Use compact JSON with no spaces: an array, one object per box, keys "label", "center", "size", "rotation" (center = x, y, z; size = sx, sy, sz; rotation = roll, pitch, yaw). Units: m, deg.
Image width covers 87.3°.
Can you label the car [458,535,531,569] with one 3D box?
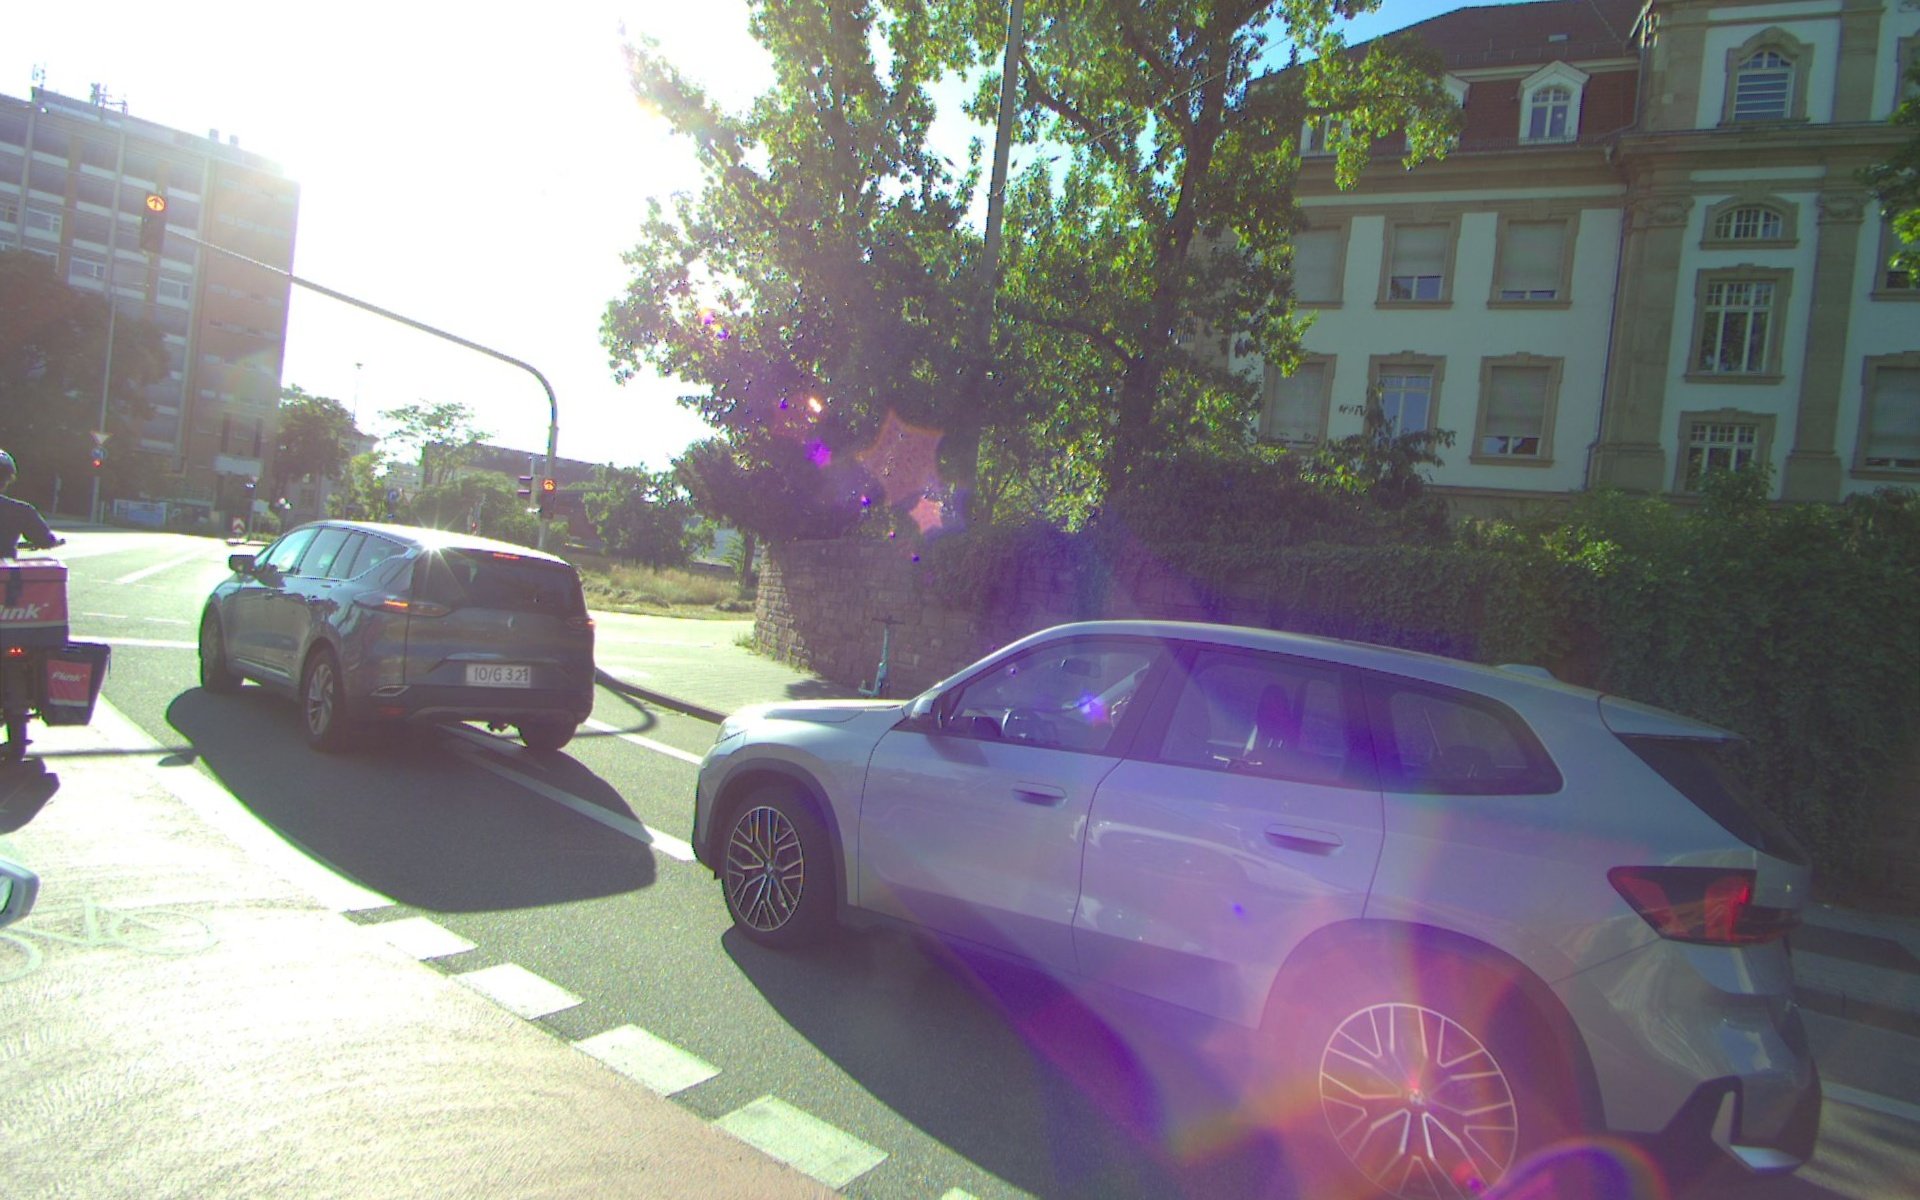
[{"label":"car","center":[-34.571,-3.554,74.697],"size":[4.652,1.969,1.901],"rotation":[7,0,-29]}]

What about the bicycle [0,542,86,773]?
[{"label":"bicycle","center":[-5.992,0.256,6.178],"size":[2.340,1.185,0.553],"rotation":[6,-2,42]}]

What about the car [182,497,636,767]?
[{"label":"car","center":[-4.838,0.163,8.555],"size":[4.307,1.709,1.830],"rotation":[6,-2,40]}]

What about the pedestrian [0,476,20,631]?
[{"label":"pedestrian","center":[-8.712,-0.300,8.748],"size":[0.585,1.617,1.013],"rotation":[8,-1,-41]}]

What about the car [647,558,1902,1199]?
[{"label":"car","center":[0.825,0.883,4.243],"size":[4.263,1.612,1.788],"rotation":[6,-2,37]}]

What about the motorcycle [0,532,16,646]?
[{"label":"motorcycle","center":[-8.936,-0.081,8.921],"size":[0.611,1.110,2.334],"rotation":[8,-2,-41]}]

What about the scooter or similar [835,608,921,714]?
[{"label":"scooter or similar","center":[-1.156,0.819,13.882],"size":[0.569,1.285,1.414],"rotation":[6,0,-27]}]

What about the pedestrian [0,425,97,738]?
[{"label":"pedestrian","center":[-6.217,-0.146,6.393],"size":[0.943,1.890,0.806],"rotation":[6,-1,40]}]
